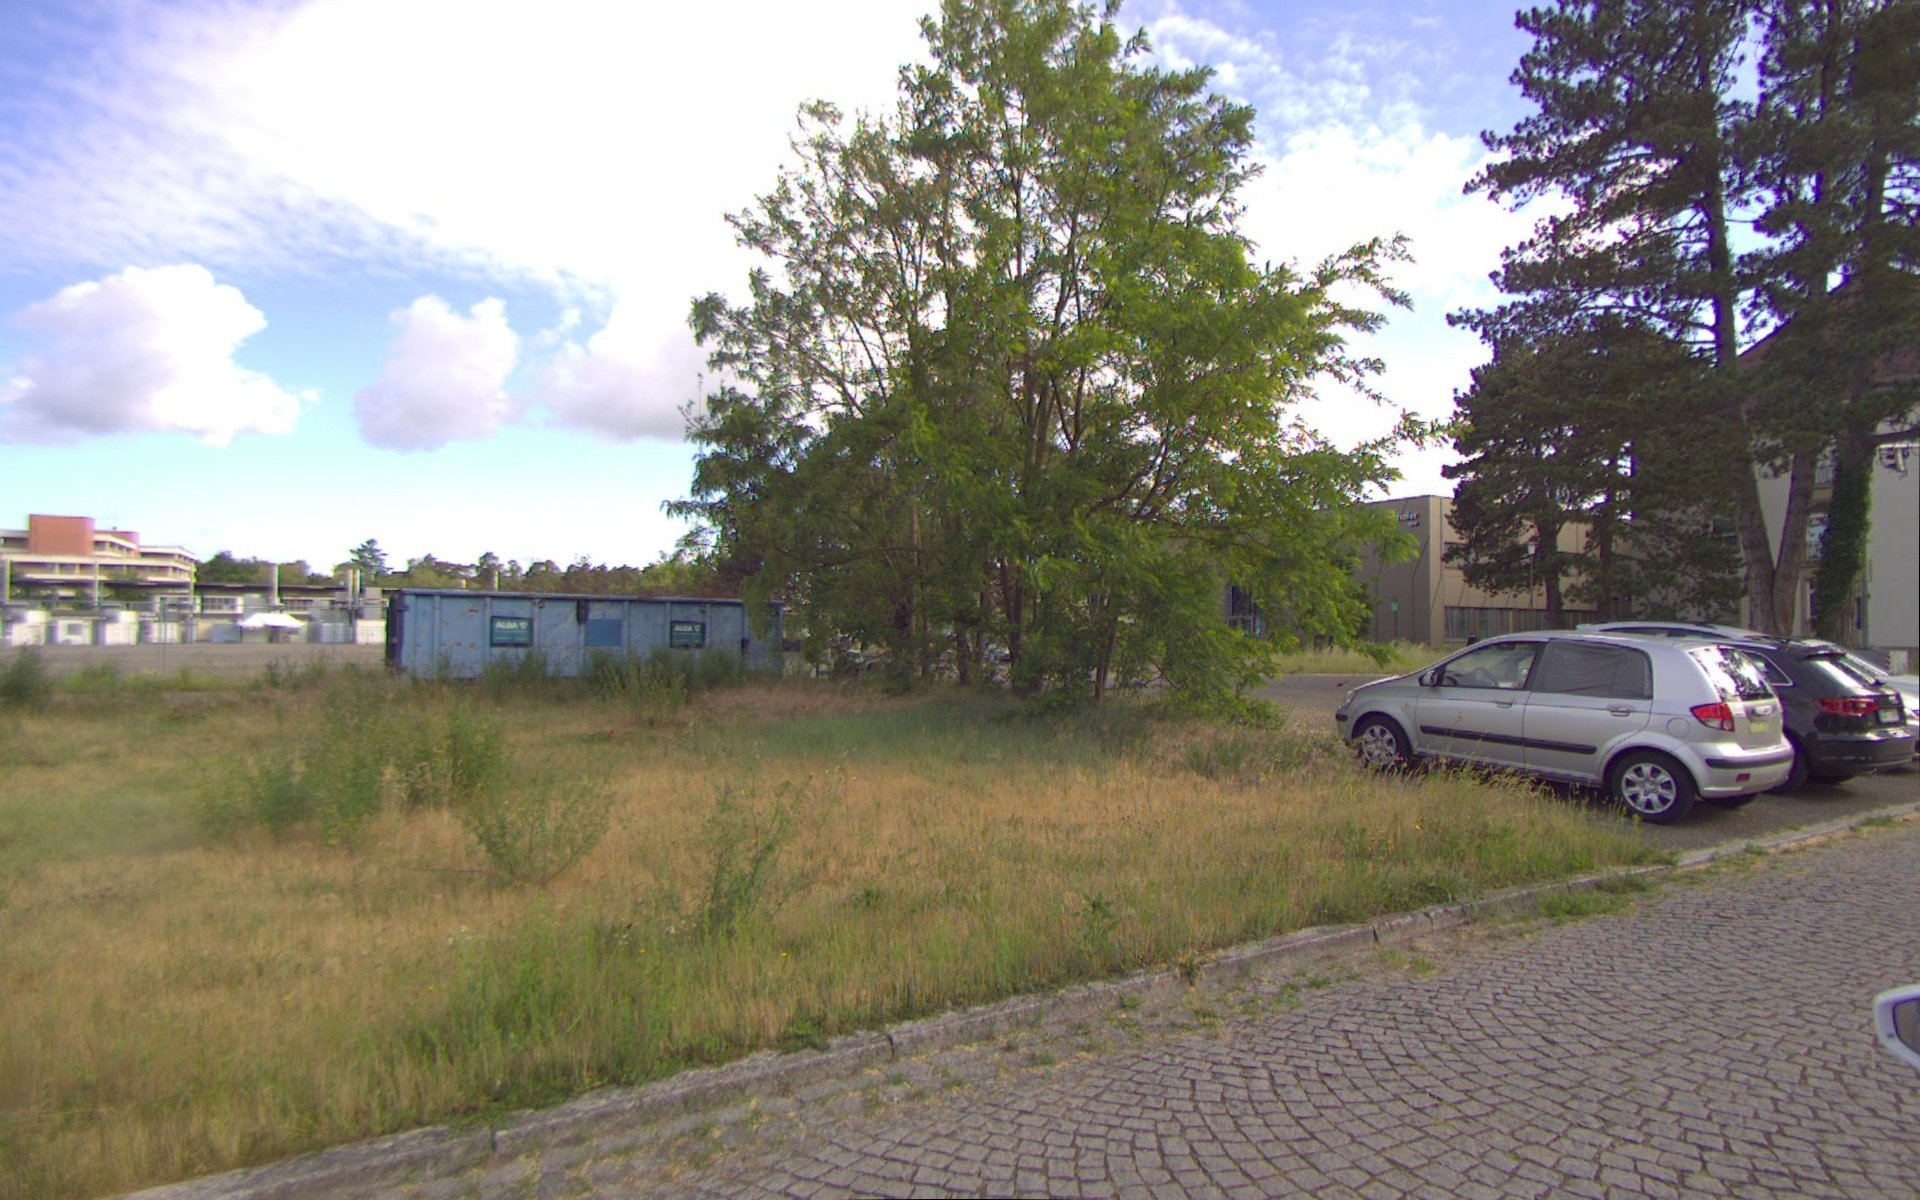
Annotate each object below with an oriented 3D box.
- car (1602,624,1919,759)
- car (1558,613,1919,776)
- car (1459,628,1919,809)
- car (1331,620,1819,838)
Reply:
[{"bbox_3d":[11.899,1.207,14.130,1.811,1.461,4.450,1,1,-34],"label":"car"},{"bbox_3d":[9.978,1.044,12.680,1.717,1.628,3.808,1,0,-33],"label":"car"},{"bbox_3d":[7.705,1.097,10.870,1.676,1.427,3.816,1,0,-31],"label":"car"},{"bbox_3d":[5.532,1.015,9.456,1.629,1.495,3.556,2,0,-33],"label":"car"}]
